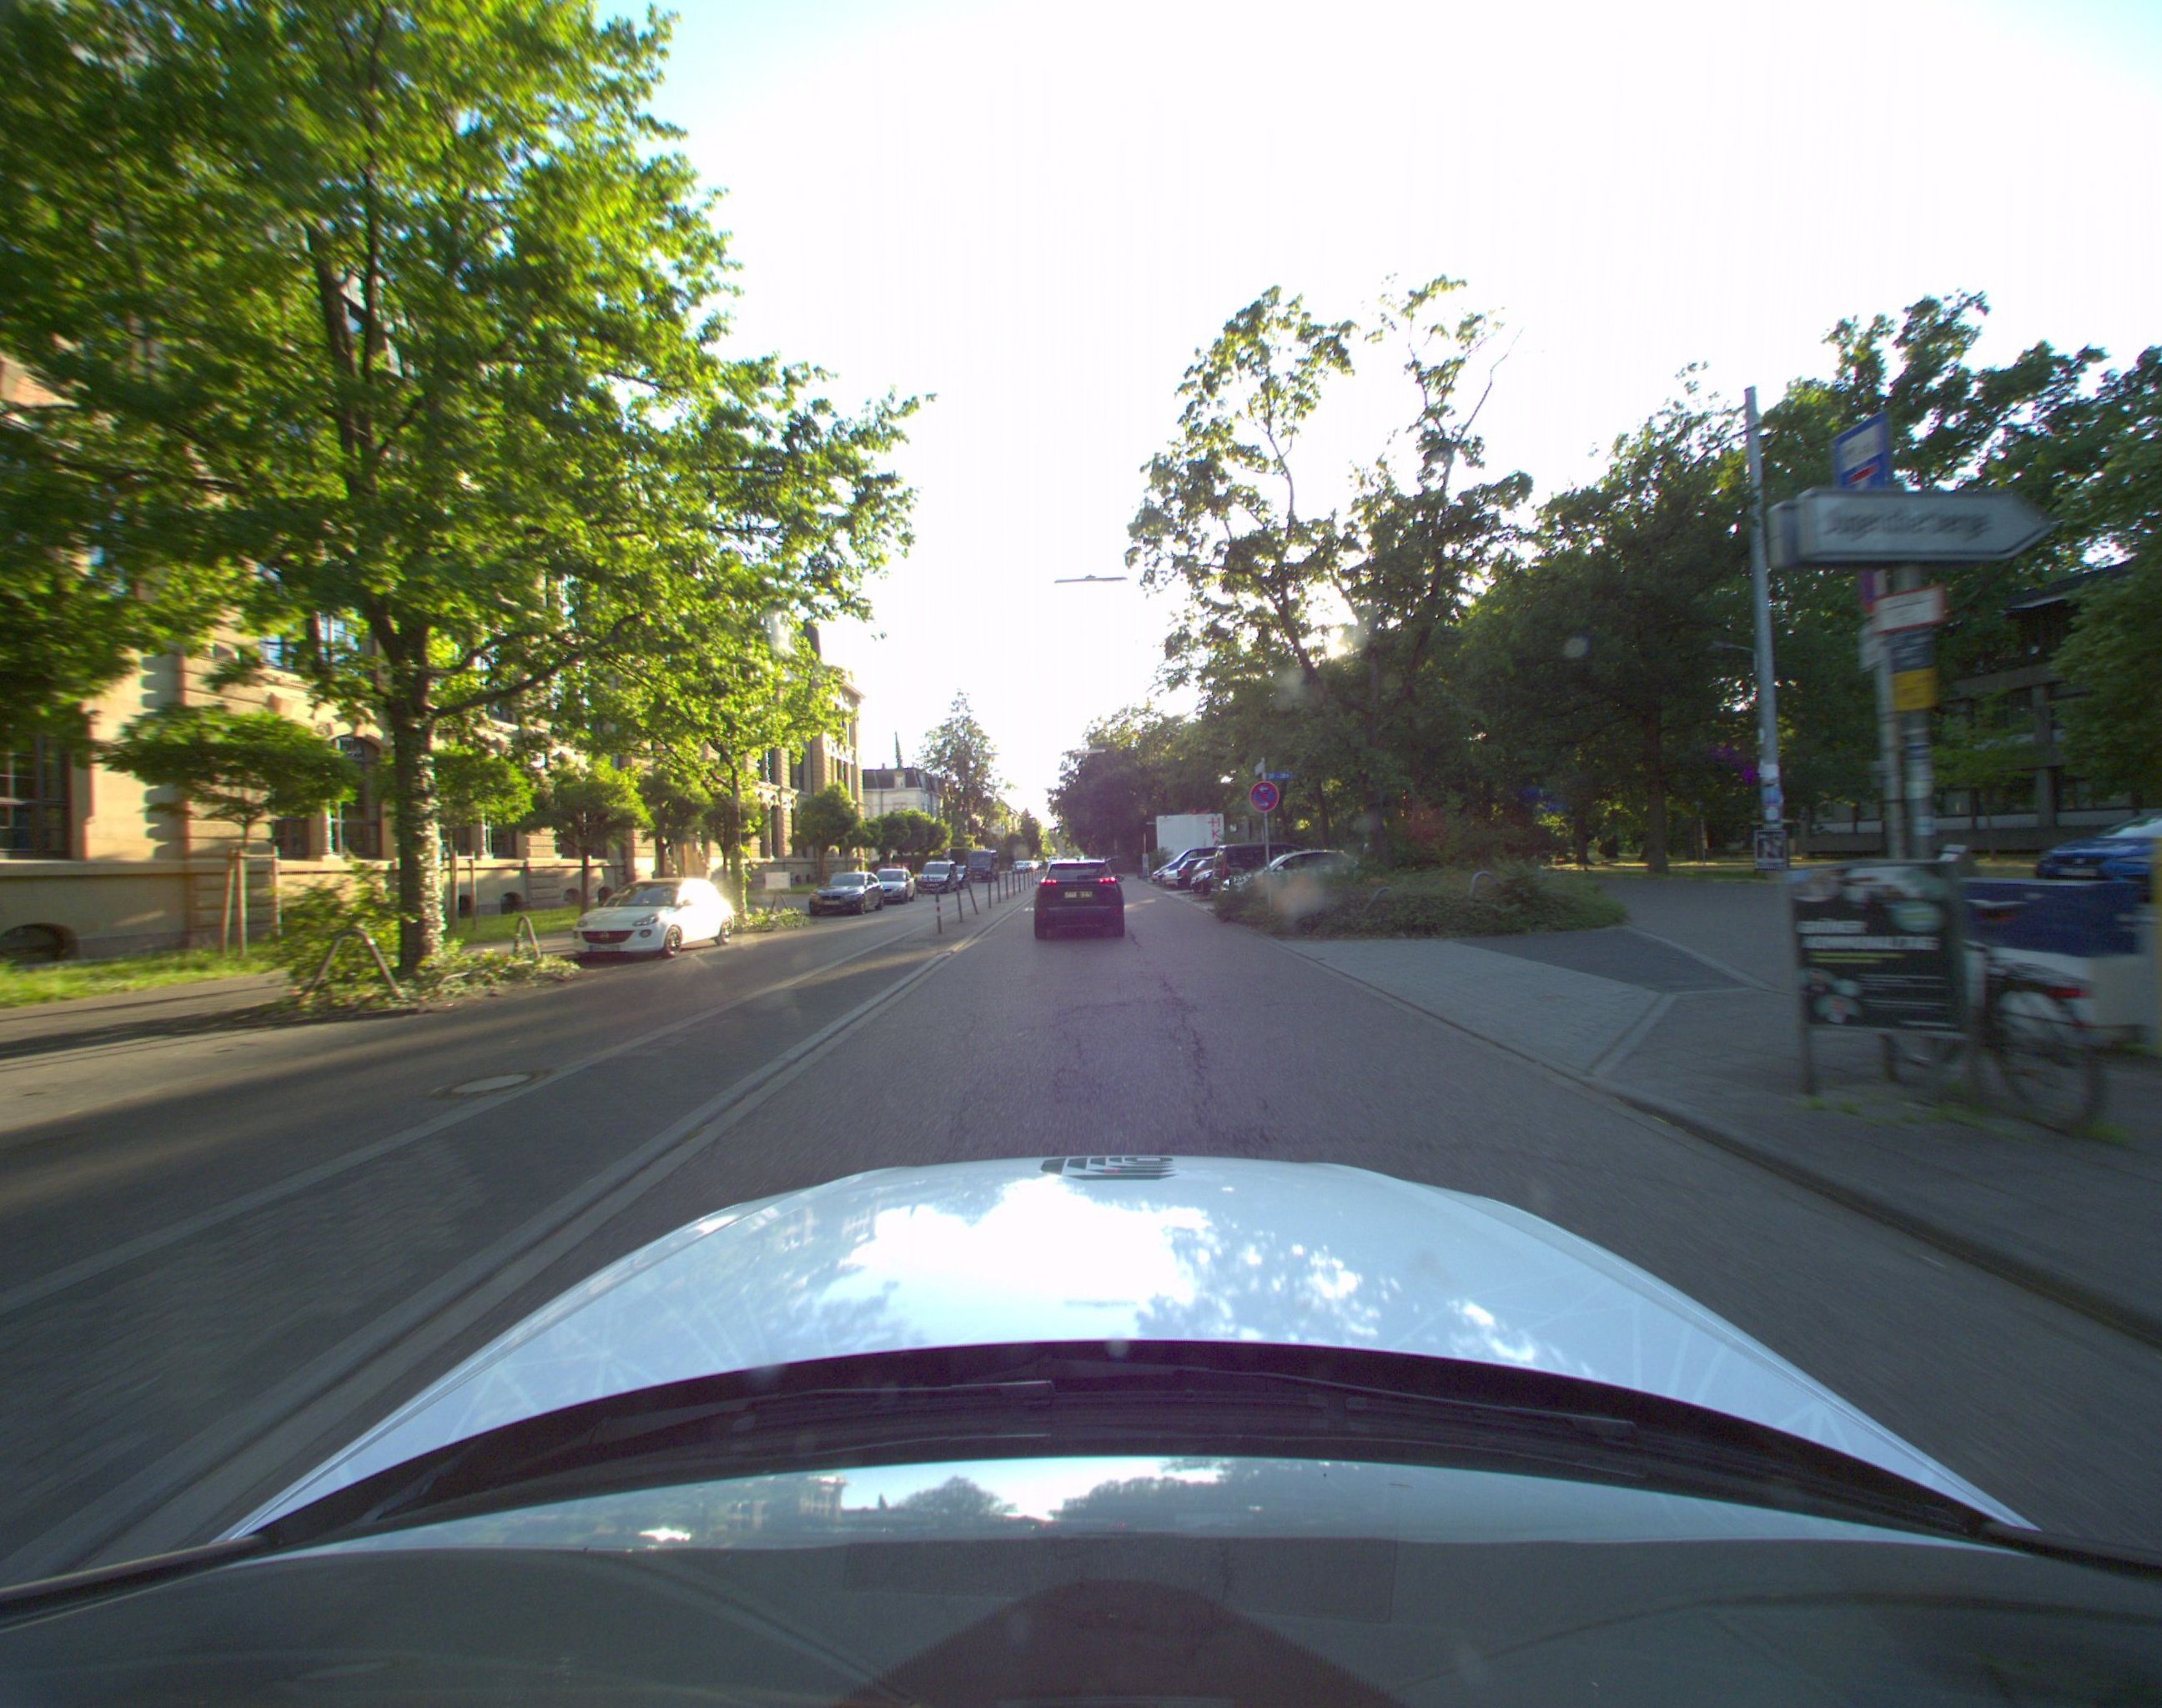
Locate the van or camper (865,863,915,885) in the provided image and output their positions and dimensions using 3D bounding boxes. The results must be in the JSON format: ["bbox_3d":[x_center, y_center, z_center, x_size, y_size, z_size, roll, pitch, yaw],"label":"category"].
[{"bbox_3d":[-20.654,2.173,88.251,4.750,1.985,2.002,-2,4,2],"label":"van or camper"}]

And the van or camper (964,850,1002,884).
[{"bbox_3d":[-7.891,1.050,66.116,2.222,2.544,7.077,-1,-1,0],"label":"van or camper"}]

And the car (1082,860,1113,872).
[{"bbox_3d":[2.369,1.666,117.061,4.232,1.449,2.019,-4,-1,-3],"label":"car"}]

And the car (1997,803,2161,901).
[{"bbox_3d":[17.886,-0.096,13.142,4.126,1.442,1.835,-2,-1,0],"label":"car"}]

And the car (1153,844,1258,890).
[{"bbox_3d":[6.160,0.646,40.586,4.838,1.916,1.915,-4,-1,-1],"label":"car"}]

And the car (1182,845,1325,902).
[{"bbox_3d":[5.787,0.660,27.694,4.350,1.554,1.875,-4,-1,-1],"label":"car"}]

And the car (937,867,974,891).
[{"bbox_3d":[-8.020,1.568,52.404,1.690,1.470,3.856,0,-1,2],"label":"car"}]

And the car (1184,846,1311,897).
[{"bbox_3d":[6.251,0.650,30.898,4.350,1.537,1.920,-4,-1,-1],"label":"car"}]

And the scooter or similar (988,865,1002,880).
[{"bbox_3d":[-8.044,1.725,76.281,0.426,1.275,1.352,-3,-1,35],"label":"scooter or similar"}]

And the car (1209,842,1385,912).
[{"bbox_3d":[5.912,0.620,22.649,4.350,1.554,1.727,-4,-1,-1],"label":"car"}]

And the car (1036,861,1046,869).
[{"bbox_3d":[-9.279,2.537,188.899,1.894,1.574,3.999,-2,-1,0],"label":"car"}]

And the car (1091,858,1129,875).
[{"bbox_3d":[3.137,1.358,89.037,3.974,1.554,1.752,-3,1,-1],"label":"car"}]

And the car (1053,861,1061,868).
[{"bbox_3d":[-6.717,2.952,227.799,1.987,1.816,3.999,-2,-1,0],"label":"car"}]

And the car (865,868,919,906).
[{"bbox_3d":[-8.327,1.408,36.203,1.716,1.496,4.369,-2,-1,-5],"label":"car"}]

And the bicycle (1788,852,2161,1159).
[{"bbox_3d":[4.663,0.613,4.334,0.488,1.148,2.297,-6,0,20],"label":"bicycle"}]

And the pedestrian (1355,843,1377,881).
[{"bbox_3d":[13.594,0.385,38.853,0.663,1.772,0.784,-2,0,-4],"label":"pedestrian"}]

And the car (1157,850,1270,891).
[{"bbox_3d":[6.163,0.765,38.266,4.912,1.554,1.915,-4,-1,-1],"label":"car"}]

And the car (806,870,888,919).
[{"bbox_3d":[-8.210,1.367,28.931,1.612,1.496,4.376,-2,-1,0],"label":"car"}]

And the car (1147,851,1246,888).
[{"bbox_3d":[6.066,0.834,43.129,4.912,1.554,1.915,-4,-1,-1],"label":"car"}]

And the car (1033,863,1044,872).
[{"bbox_3d":[-7.472,2.359,144.017,1.747,1.414,3.762,-4,0,-2],"label":"car"}]

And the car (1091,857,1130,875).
[{"bbox_3d":[3.021,1.228,83.936,3.974,1.554,1.725,-3,1,-1],"label":"car"}]

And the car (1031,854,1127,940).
[{"bbox_3d":[-0.020,0.814,17.283,1.766,1.568,4.108,-1,0,0],"label":"car"}]

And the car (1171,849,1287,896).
[{"bbox_3d":[6.011,0.744,33.428,4.350,1.537,1.920,-4,-1,-1],"label":"car"}]

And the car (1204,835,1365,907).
[{"bbox_3d":[6.152,0.508,24.960,4.350,1.780,1.920,-4,-1,-1],"label":"car"}]

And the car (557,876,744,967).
[{"bbox_3d":[-8.375,1.239,16.280,1.612,1.496,3.924,-2,-1,0],"label":"car"}]

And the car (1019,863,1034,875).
[{"bbox_3d":[-7.479,2.032,111.940,1.608,1.466,4.036,-3,-1,0],"label":"car"}]

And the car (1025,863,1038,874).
[{"bbox_3d":[-7.449,2.180,123.021,1.608,1.466,4.036,-3,-1,0],"label":"car"}]

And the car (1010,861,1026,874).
[{"bbox_3d":[-7.815,1.717,101.369,1.609,1.515,3.709,-4,-1,-2],"label":"car"}]

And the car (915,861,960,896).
[{"bbox_3d":[-8.130,1.352,46.591,1.771,1.866,4.332,0,0,0],"label":"car"}]

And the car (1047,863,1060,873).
[{"bbox_3d":[-4.323,2.174,128.715,1.735,1.458,4.622,-3,-1,0],"label":"car"}]
